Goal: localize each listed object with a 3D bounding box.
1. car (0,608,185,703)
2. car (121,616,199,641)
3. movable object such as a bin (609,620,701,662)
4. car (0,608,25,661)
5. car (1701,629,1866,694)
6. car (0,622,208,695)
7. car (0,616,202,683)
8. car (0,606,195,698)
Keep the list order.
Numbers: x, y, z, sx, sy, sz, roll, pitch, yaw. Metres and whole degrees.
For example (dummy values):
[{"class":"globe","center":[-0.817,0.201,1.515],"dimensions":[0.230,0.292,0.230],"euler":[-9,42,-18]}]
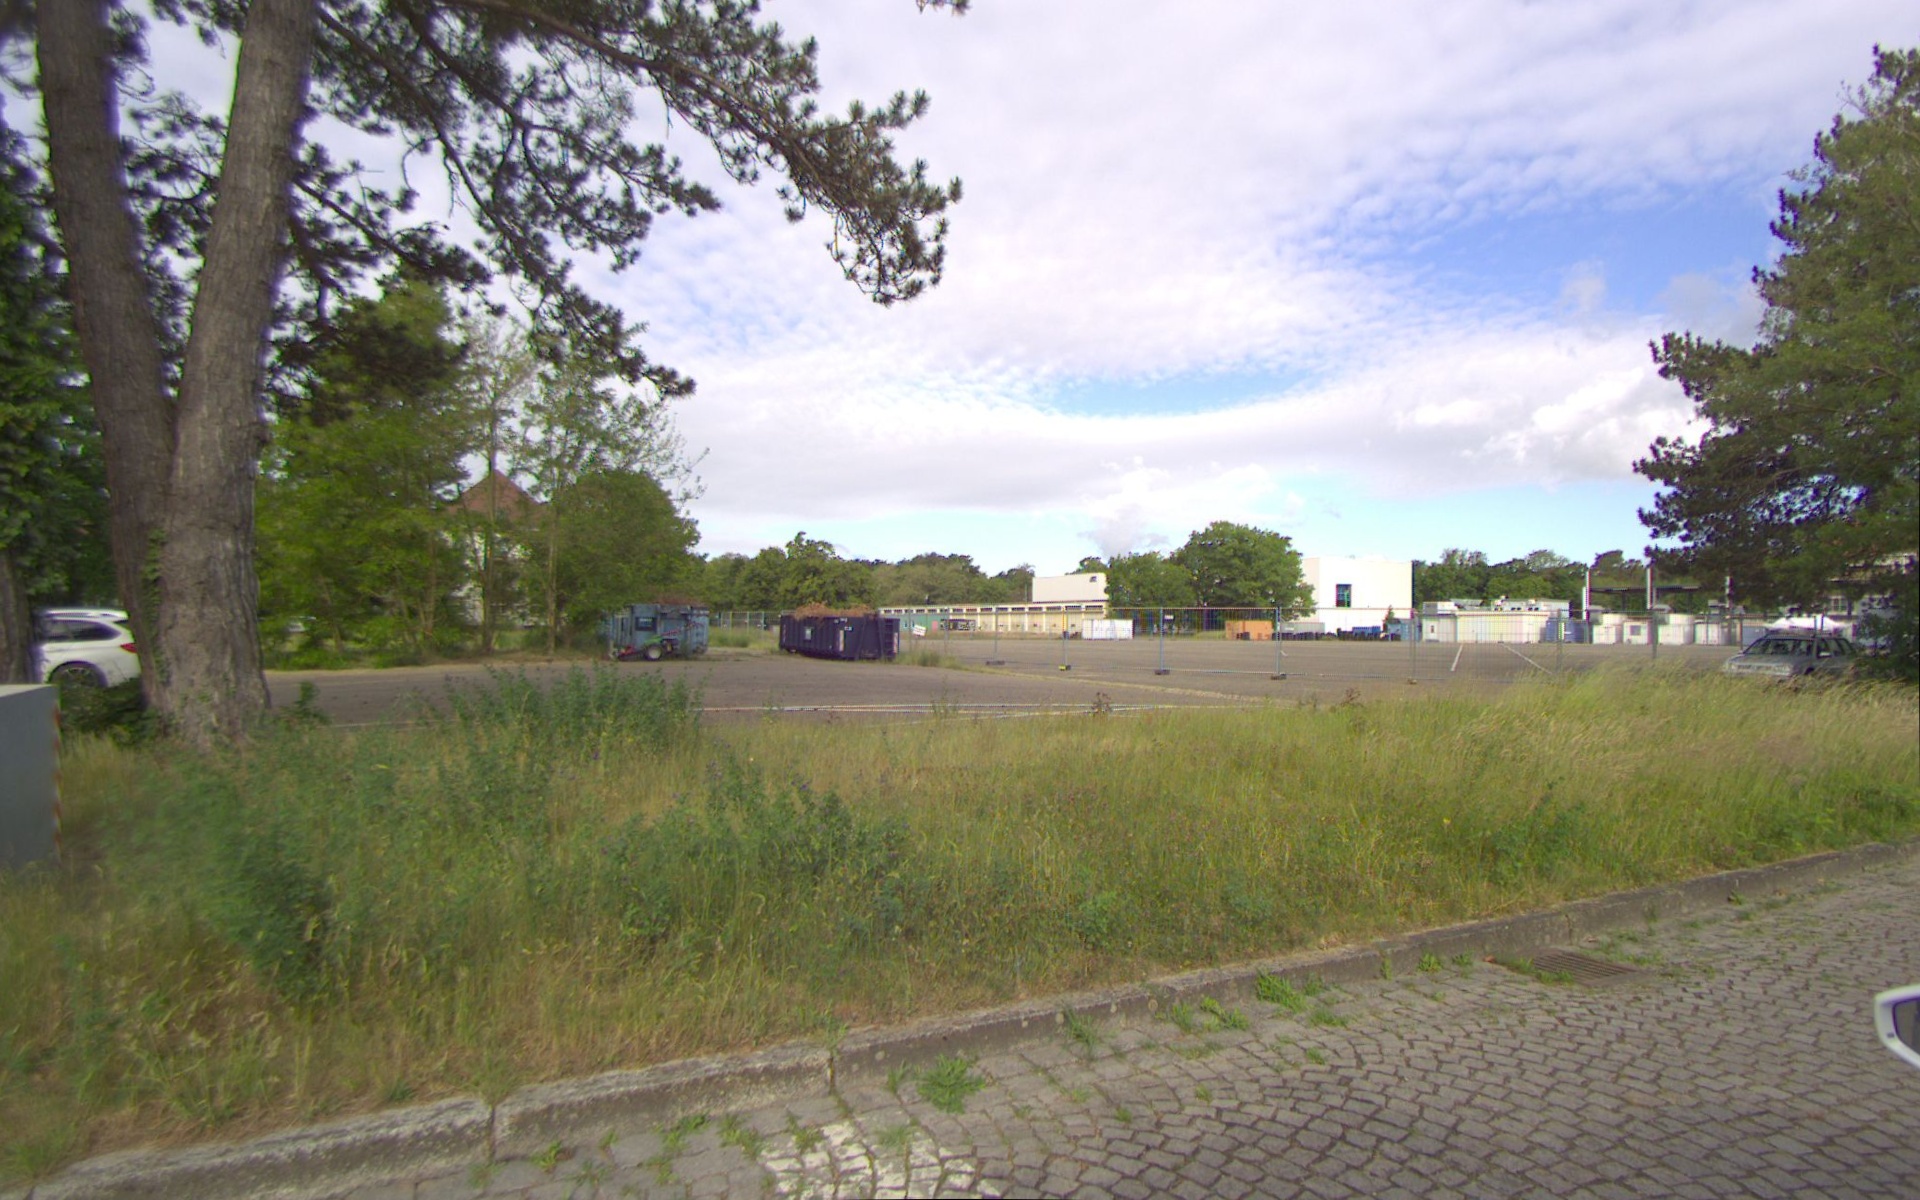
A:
[{"class":"car","center":[-16.051,0.936,16.678],"dimensions":[4.764,1.459,1.898],"euler":[-2,0,-30]},{"class":"car","center":[-54.774,1.984,68.851],"dimensions":[3.744,1.646,1.987],"euler":[1,-2,-26]},{"class":"movable object such as a bin","center":[-9.264,1.237,30.526],"dimensions":[2.508,1.228,1.162],"euler":[1,-1,-28]},{"class":"car","center":[-39.581,1.287,38.678],"dimensions":[4.776,2.040,1.989],"euler":[1,-1,-24]},{"class":"car","center":[20.880,1.494,25.444],"dimensions":[4.319,1.496,1.909],"euler":[1,-1,-31]},{"class":"car","center":[-18.841,1.192,21.152],"dimensions":[4.581,1.441,1.870],"euler":[1,-2,-30]},{"class":"car","center":[-20.242,1.128,23.411],"dimensions":[3.943,1.475,1.666],"euler":[1,-2,-32]},{"class":"car","center":[-17.328,0.957,18.930],"dimensions":[4.437,1.611,1.832],"euler":[-1,-1,-32]}]
